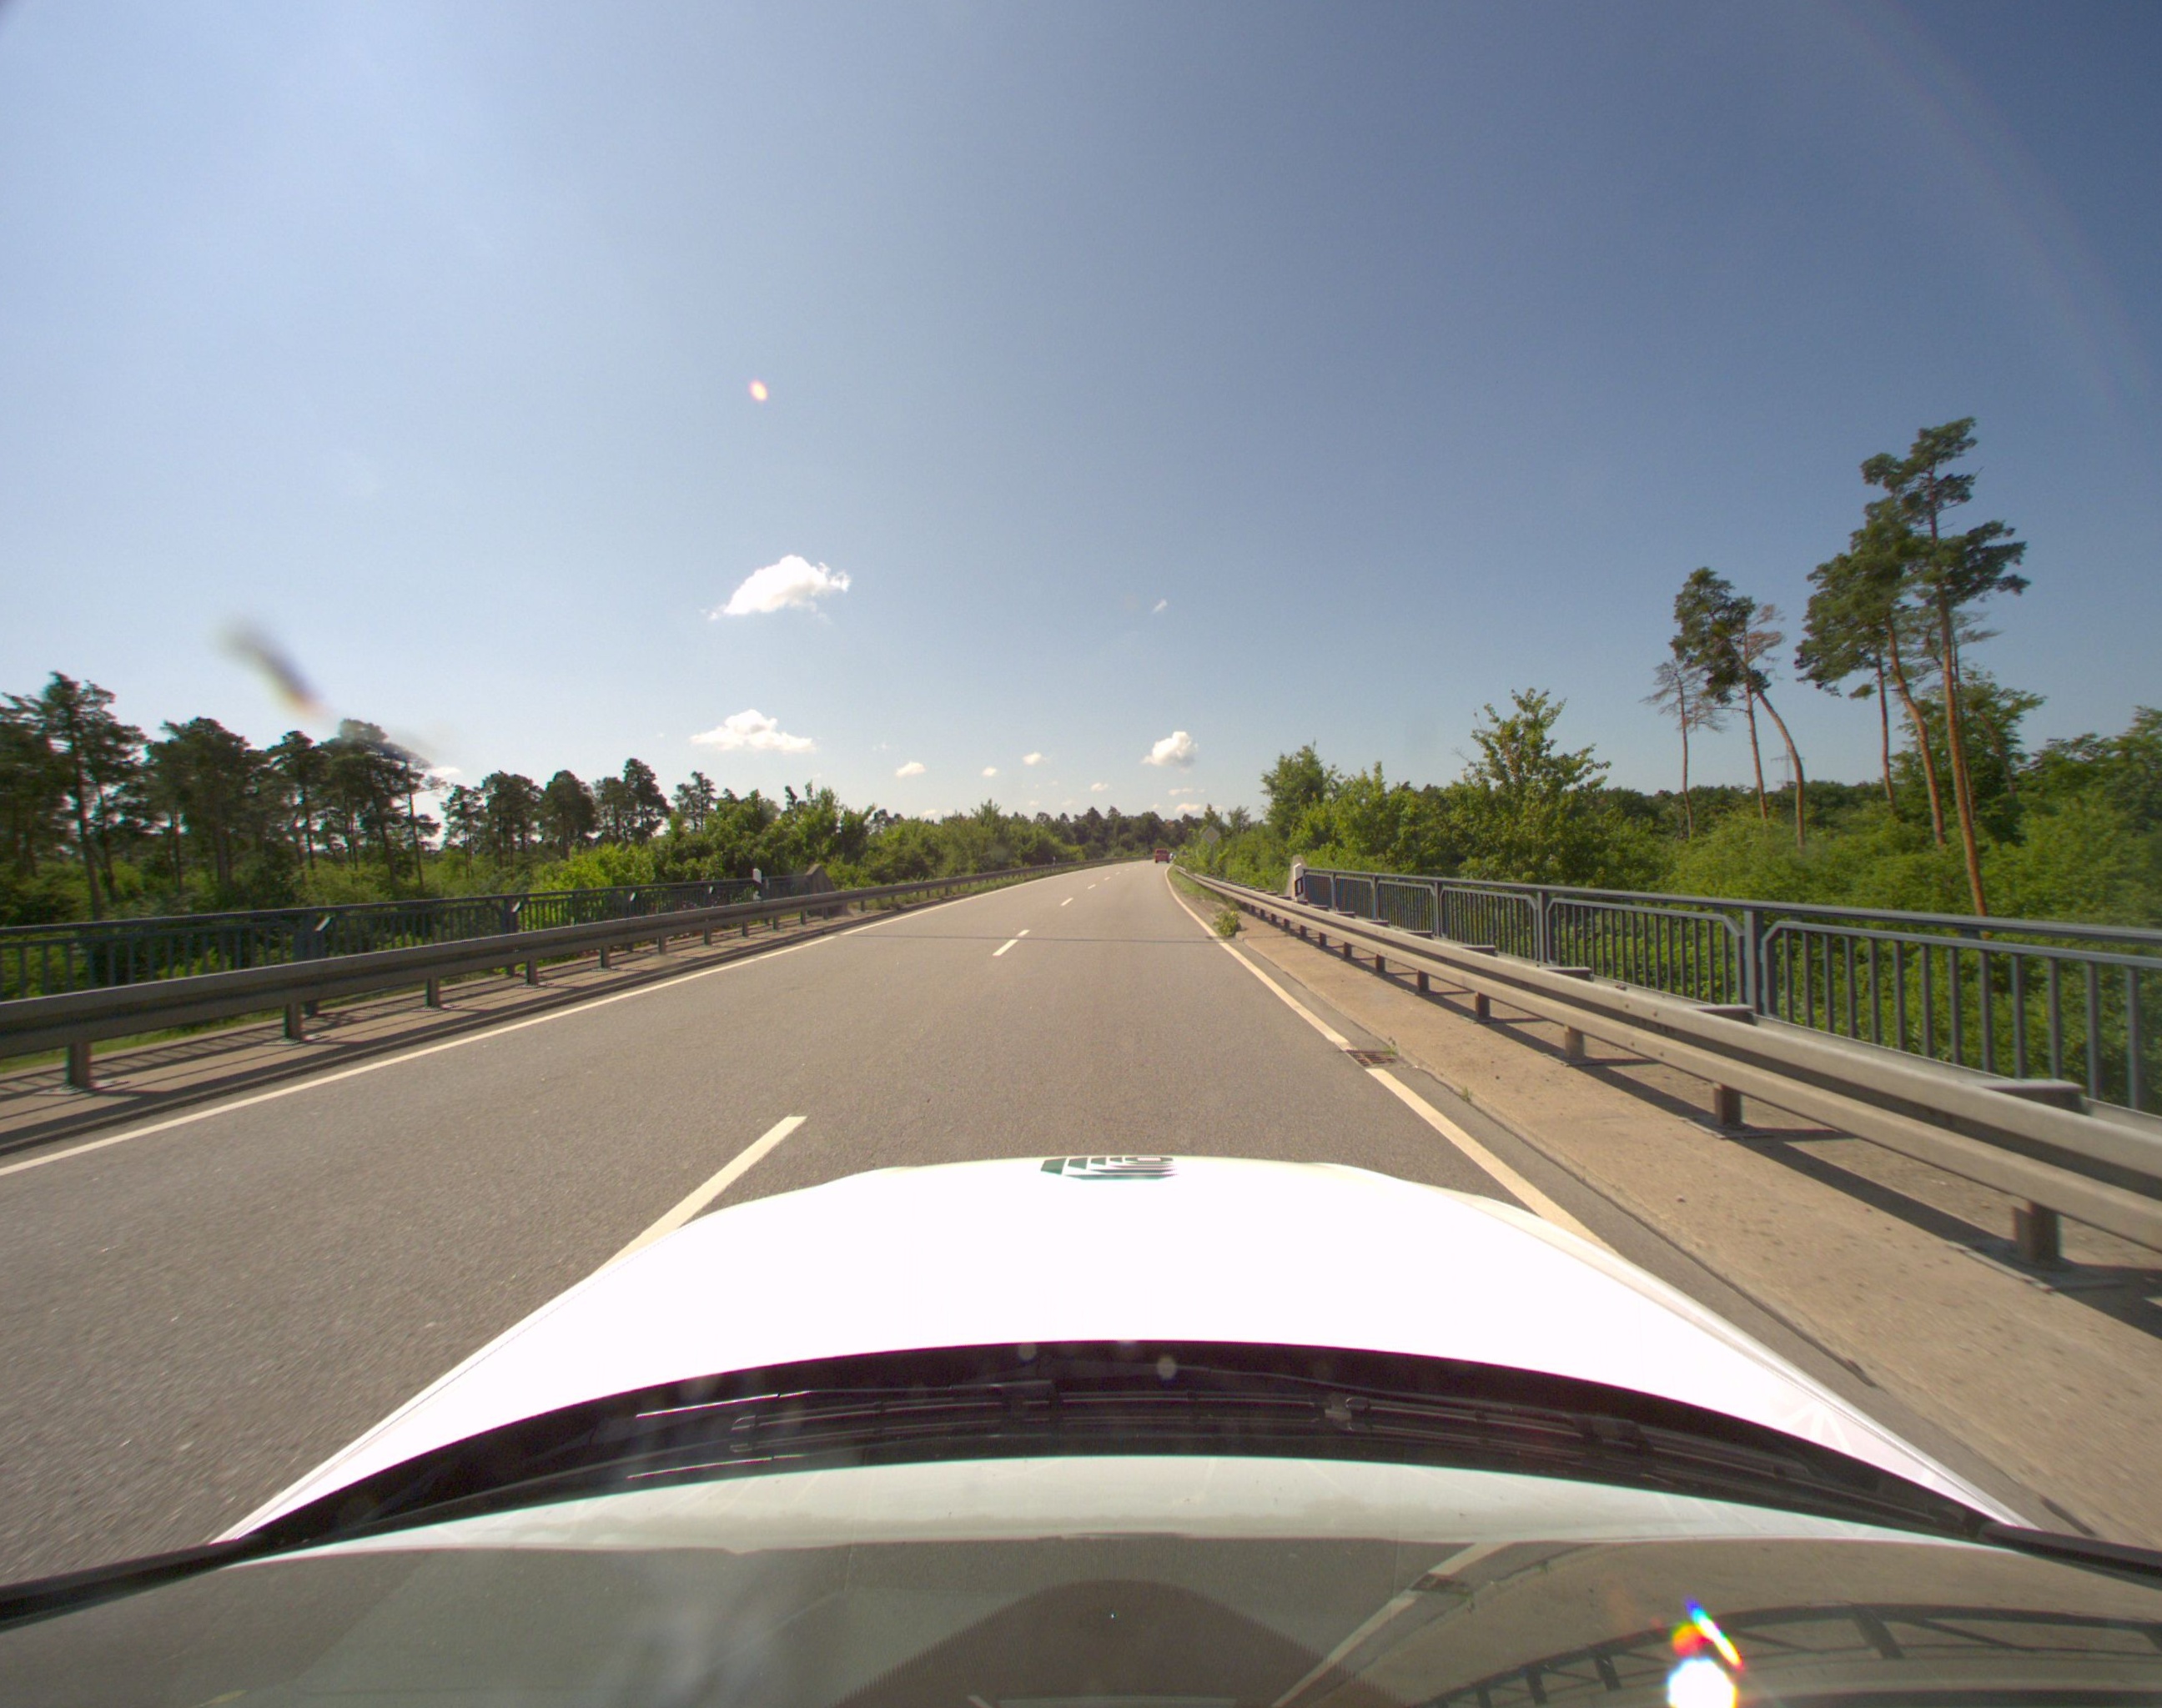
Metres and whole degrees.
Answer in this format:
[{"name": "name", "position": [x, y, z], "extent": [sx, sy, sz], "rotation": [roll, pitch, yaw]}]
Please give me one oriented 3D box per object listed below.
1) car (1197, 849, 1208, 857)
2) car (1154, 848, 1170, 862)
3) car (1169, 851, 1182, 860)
[{"name": "car", "position": [28.990, -0.197, 194.607], "extent": [2.174, 1.955, 5.813], "rotation": [0, 0, 6]}, {"name": "car", "position": [11.293, 0.141, 113.808], "extent": [2.068, 1.993, 5.117], "rotation": [0, 0, 4]}, {"name": "car", "position": [15.846, 0.271, 136.213], "extent": [1.998, 1.494, 4.244], "rotation": [0, 0, 4]}]
